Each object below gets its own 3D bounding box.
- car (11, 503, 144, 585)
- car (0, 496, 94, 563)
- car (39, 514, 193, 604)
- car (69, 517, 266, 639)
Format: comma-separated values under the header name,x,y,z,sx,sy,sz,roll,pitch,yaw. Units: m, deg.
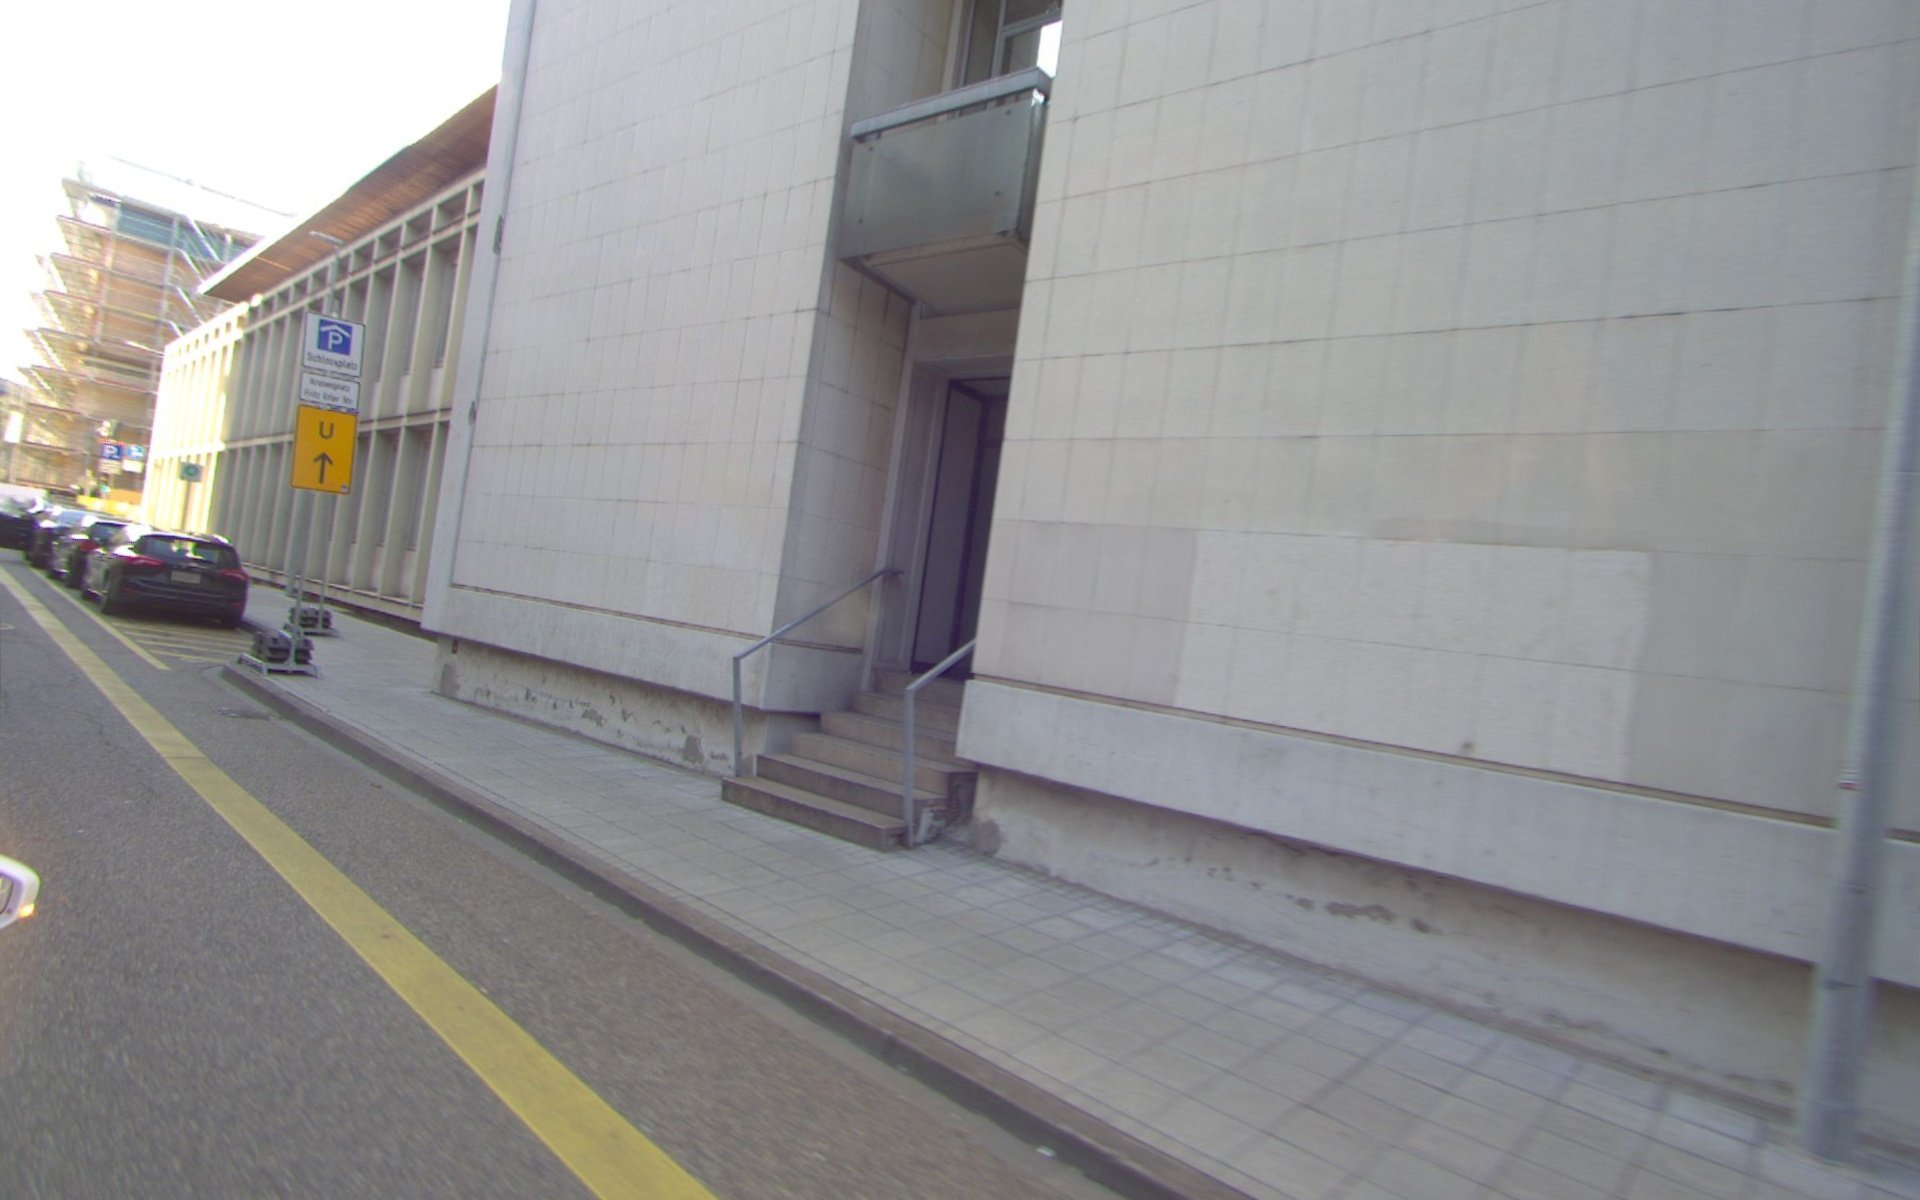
name,x,y,z,sx,sy,sz,roll,pitch,yaw
car,-21.870,-1.417,24.863,4.672,1.517,1.824,6,-4,42
car,-30.758,-2.387,33.785,4.603,1.717,1.824,7,-3,43
car,-17.587,-0.882,20.892,4.231,1.496,1.779,5,-3,42
car,-13.389,-0.422,16.907,4.230,1.495,1.782,6,-4,42
